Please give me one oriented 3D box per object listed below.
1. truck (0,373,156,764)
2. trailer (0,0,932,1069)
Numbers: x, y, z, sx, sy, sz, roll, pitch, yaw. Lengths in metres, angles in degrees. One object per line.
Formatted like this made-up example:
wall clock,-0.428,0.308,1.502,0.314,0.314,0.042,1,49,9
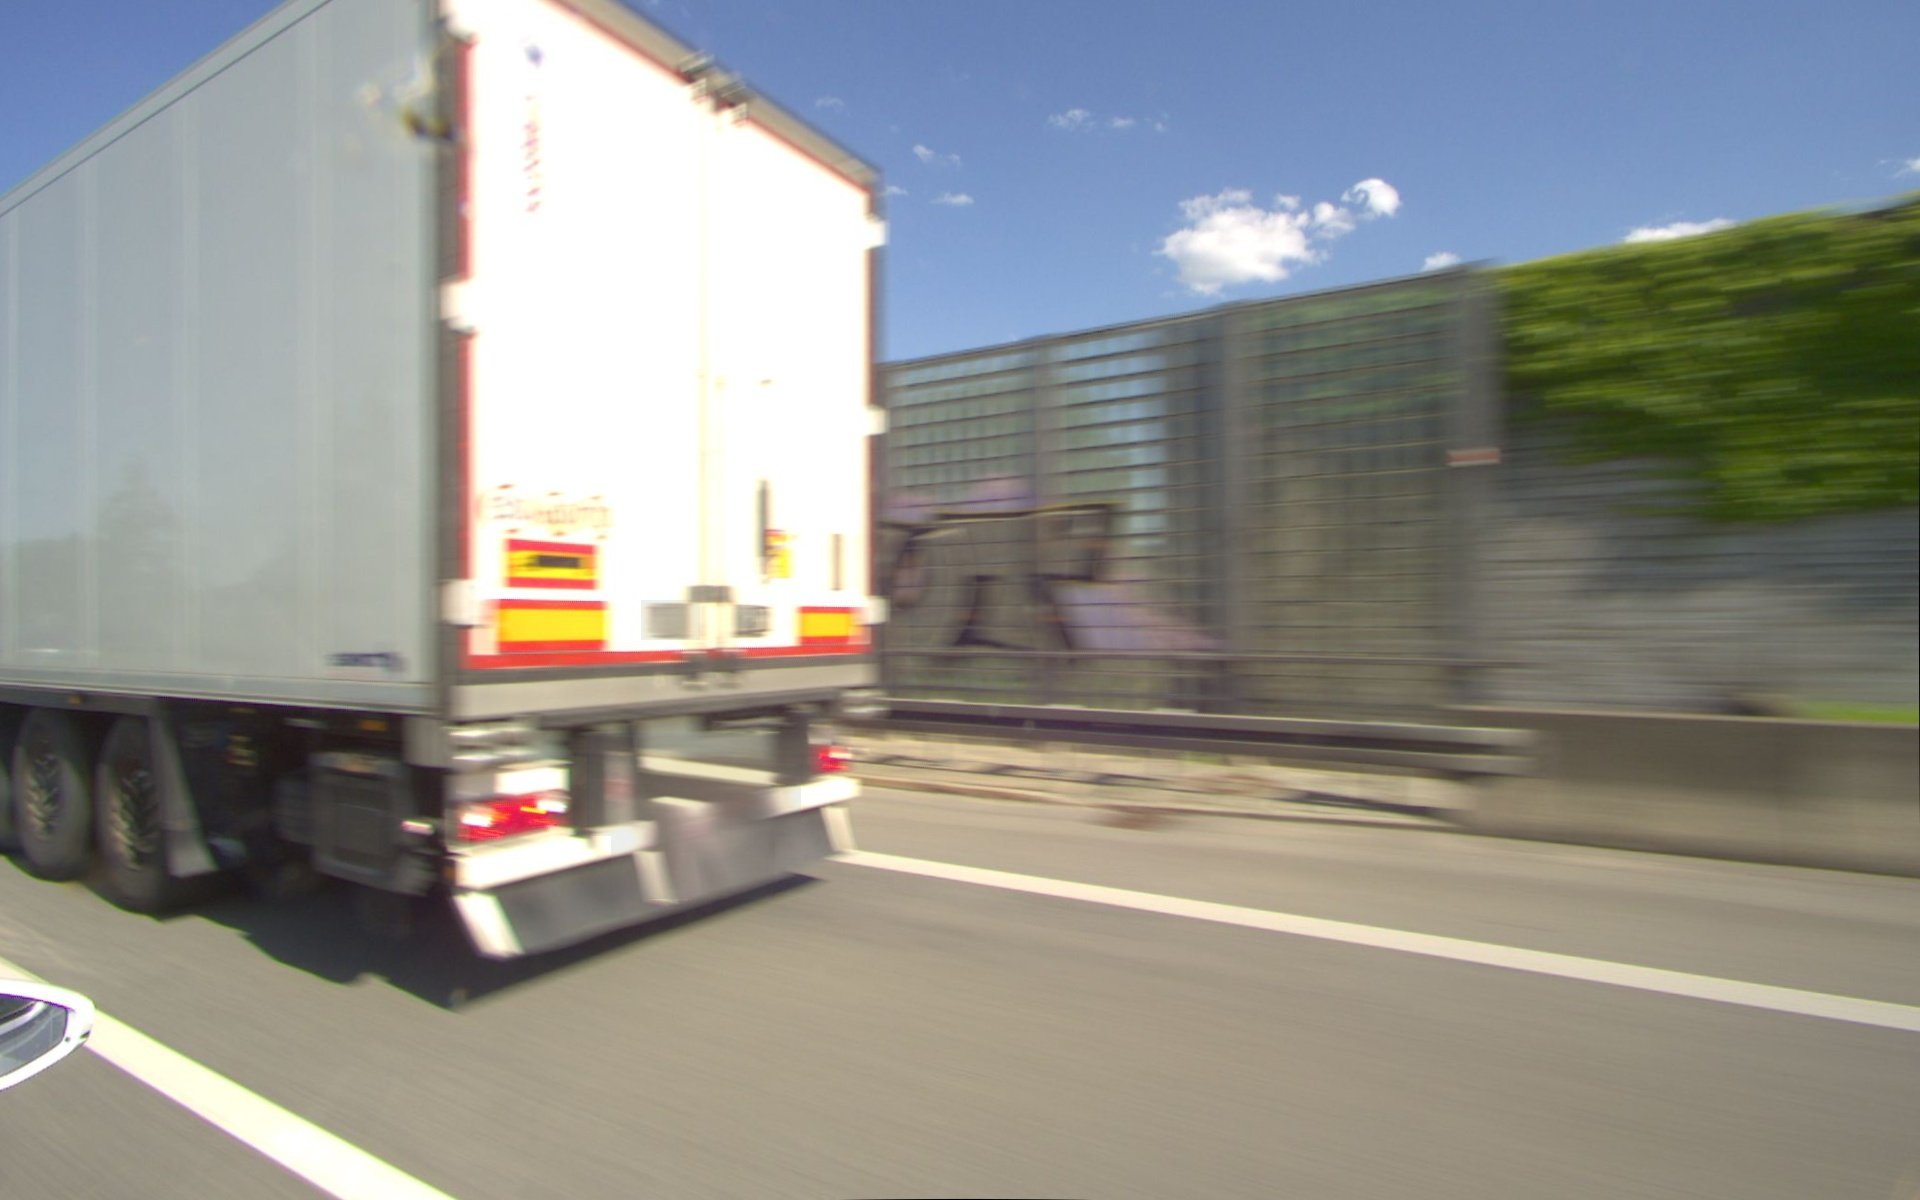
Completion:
truck,-12.897,-0.278,12.010,6.941,4.020,2.834,-1,1,32
trailer,-6.823,-0.409,8.139,13.957,4.019,2.812,-1,1,32
